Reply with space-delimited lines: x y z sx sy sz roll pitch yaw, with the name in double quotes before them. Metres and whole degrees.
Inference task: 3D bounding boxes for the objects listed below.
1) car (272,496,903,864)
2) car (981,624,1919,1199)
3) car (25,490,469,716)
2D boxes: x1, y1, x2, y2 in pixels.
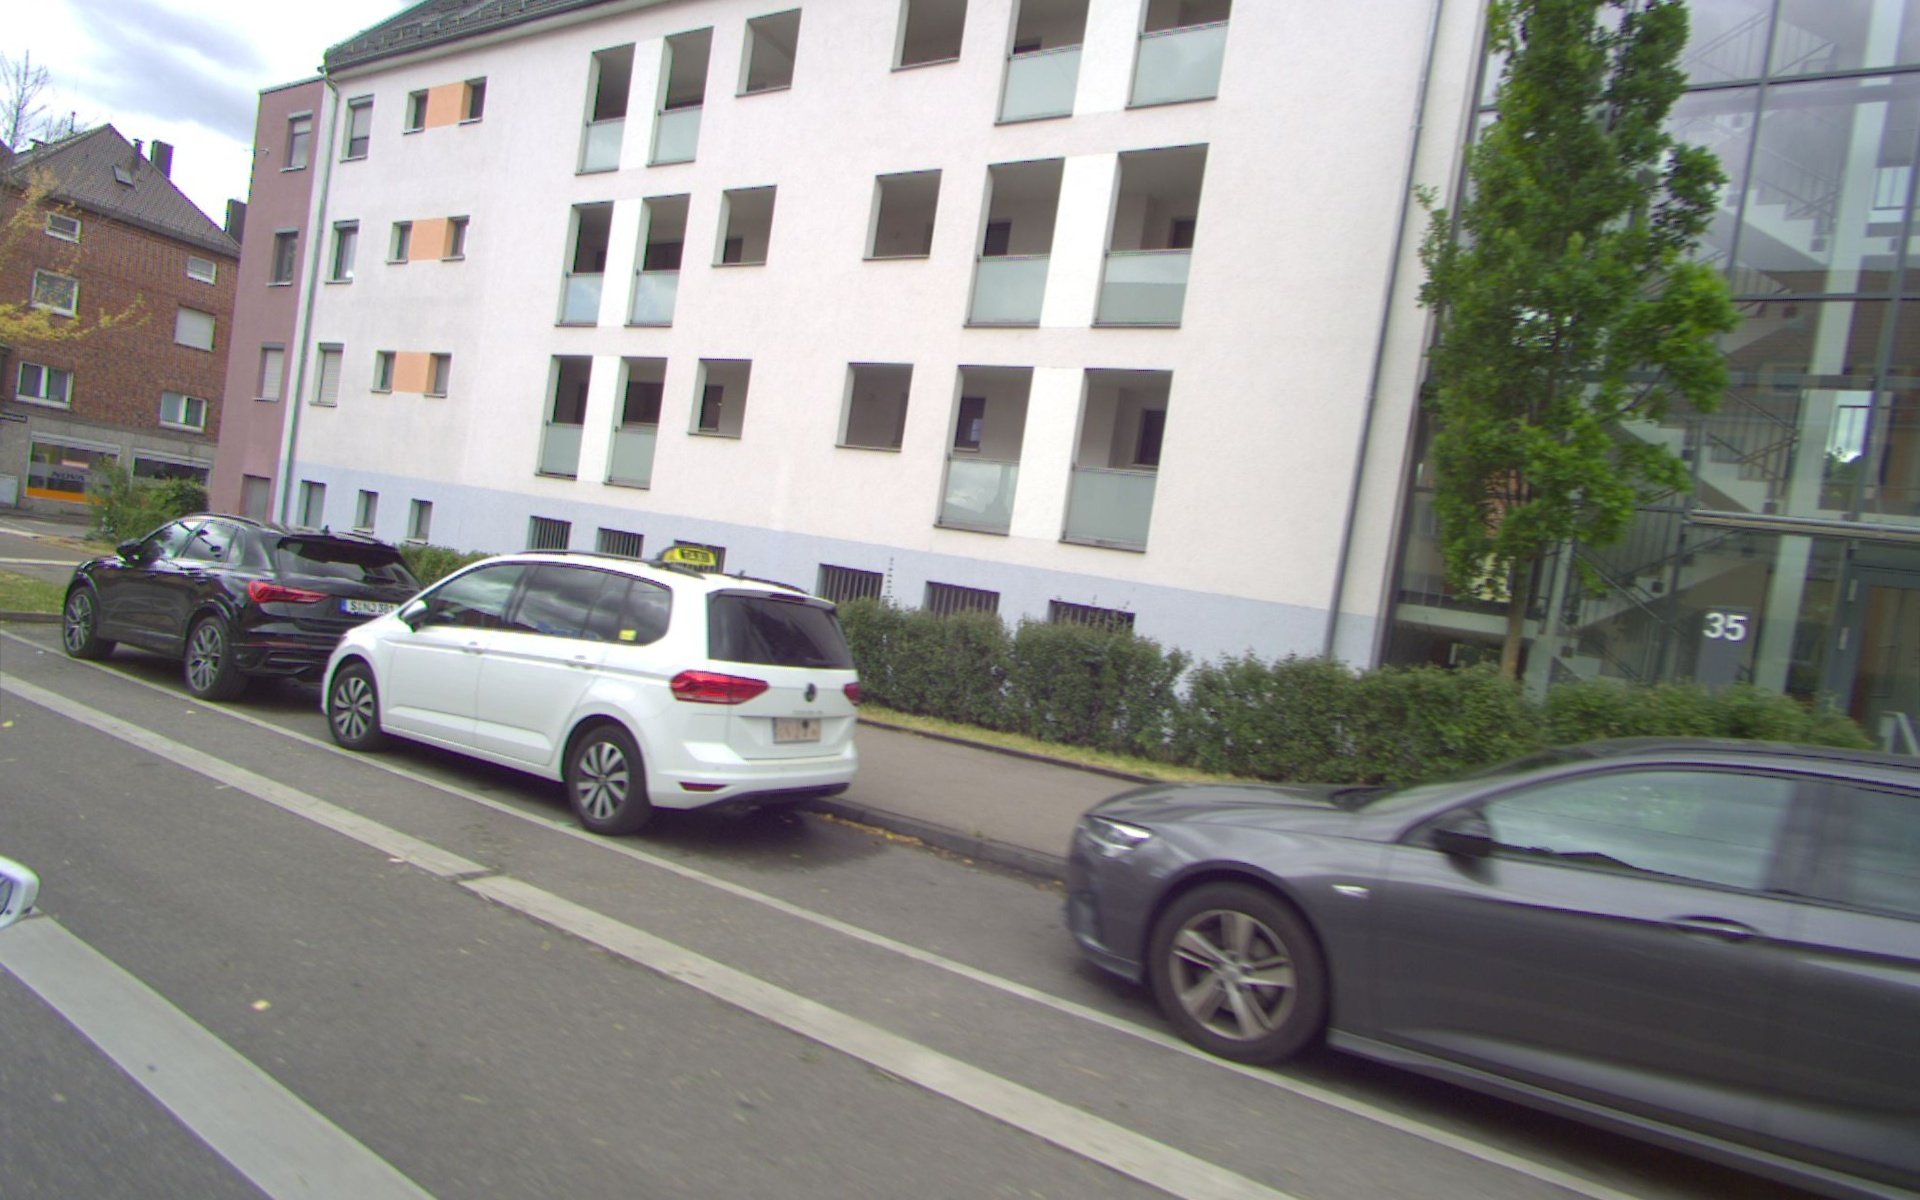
"car" -2.831 0.398 7.307 4.474 1.736 1.662 8 -1 30
"car" 2.698 1.195 3.826 4.865 1.485 1.749 8 -1 30
"car" -7.106 -0.015 9.914 4.495 1.606 1.738 7 -2 30
